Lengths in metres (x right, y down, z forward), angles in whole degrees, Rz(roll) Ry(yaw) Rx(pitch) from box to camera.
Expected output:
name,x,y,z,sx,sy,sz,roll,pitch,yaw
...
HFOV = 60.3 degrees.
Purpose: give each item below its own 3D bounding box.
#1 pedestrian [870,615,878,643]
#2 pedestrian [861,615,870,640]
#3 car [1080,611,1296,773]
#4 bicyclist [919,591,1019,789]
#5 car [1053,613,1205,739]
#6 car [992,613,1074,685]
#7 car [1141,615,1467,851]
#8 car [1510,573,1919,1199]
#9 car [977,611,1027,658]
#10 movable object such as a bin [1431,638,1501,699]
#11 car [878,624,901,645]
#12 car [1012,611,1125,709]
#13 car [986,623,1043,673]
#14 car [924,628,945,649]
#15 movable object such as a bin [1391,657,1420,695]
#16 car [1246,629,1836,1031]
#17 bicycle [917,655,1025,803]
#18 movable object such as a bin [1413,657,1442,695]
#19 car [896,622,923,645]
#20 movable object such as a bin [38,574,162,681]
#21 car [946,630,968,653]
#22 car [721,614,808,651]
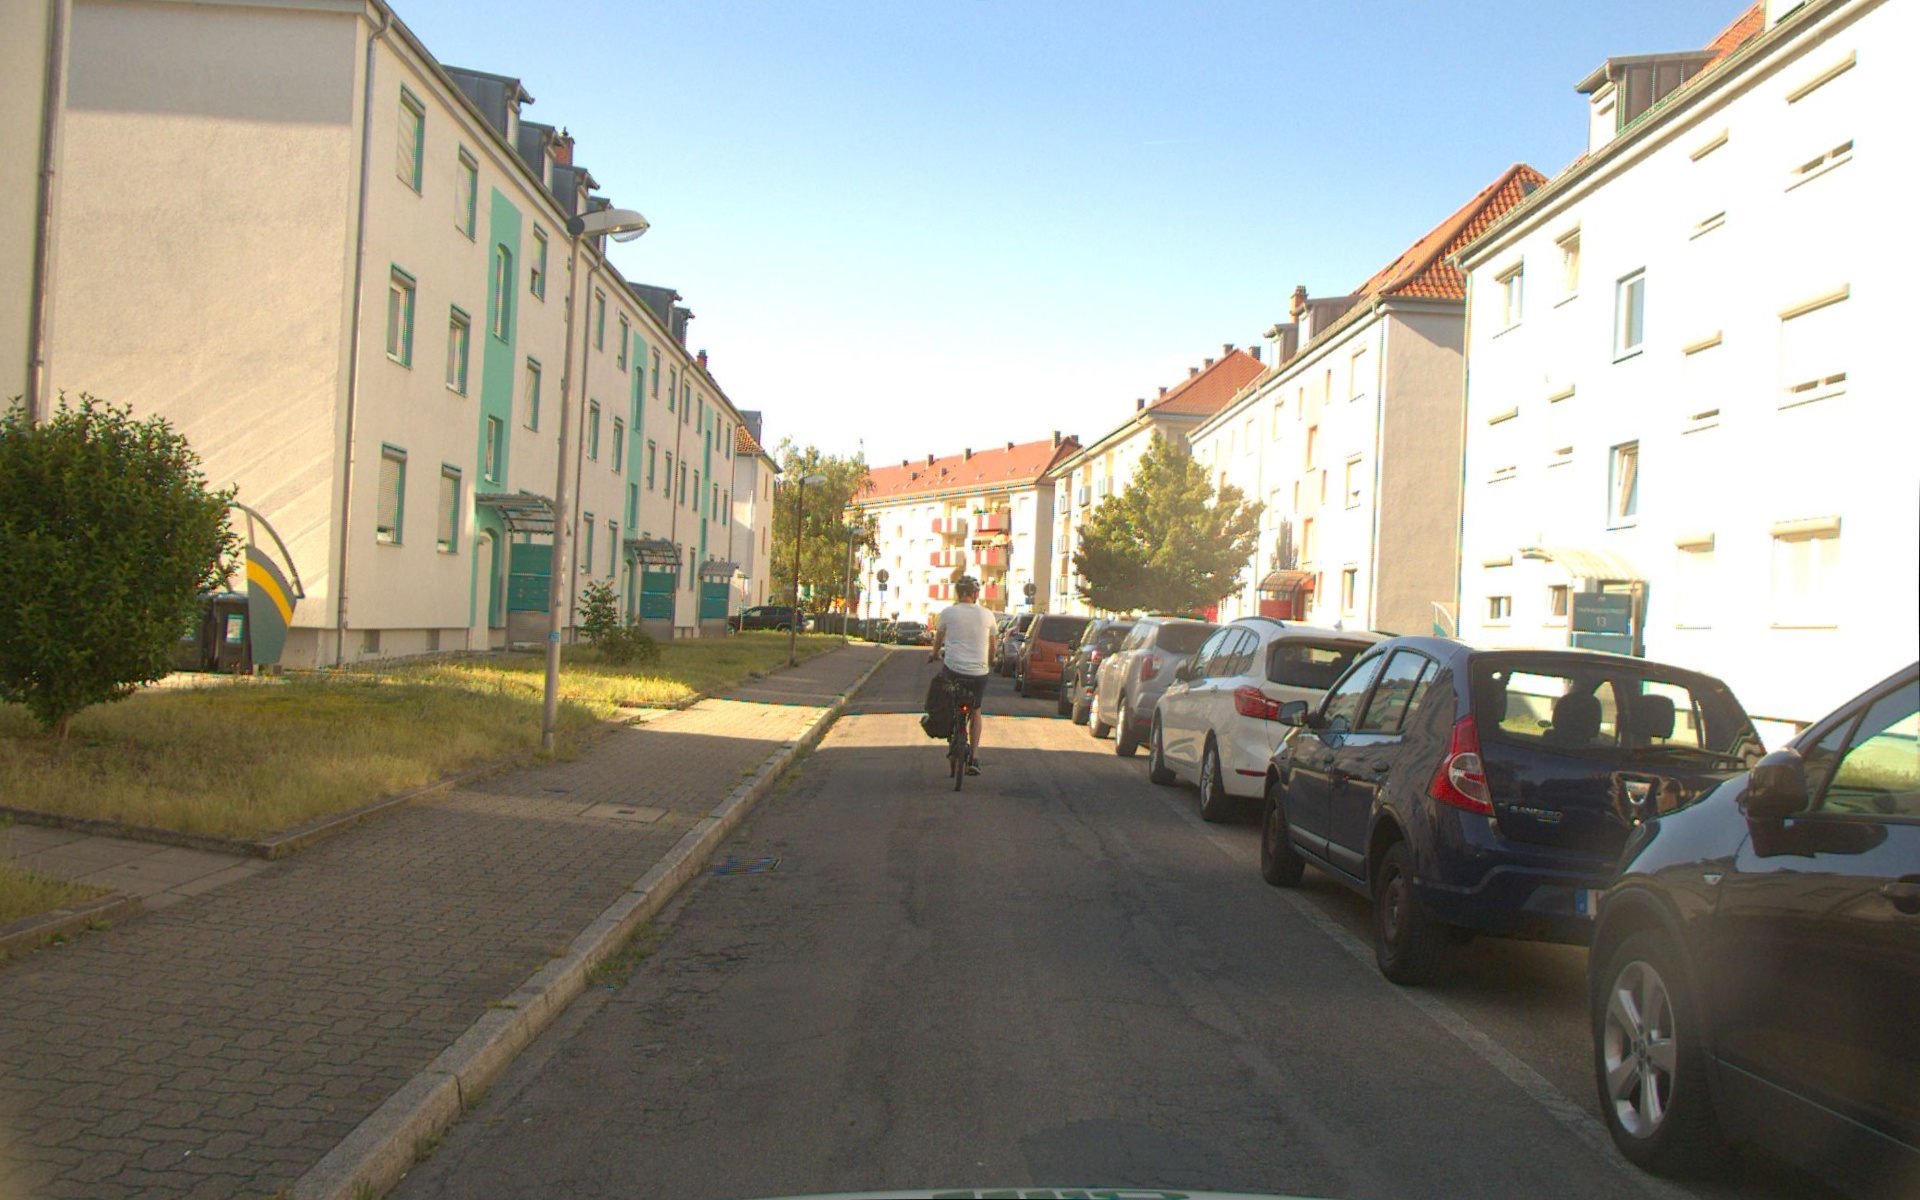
name,x,y,z,sx,sy,sz,roll,pitch,yaw
pedestrian,-5.014,1.709,96.229,0.425,1.602,0.543,2,-1,-1
pedestrian,-5.502,1.605,96.238,0.425,1.452,0.543,2,-1,-1
car,2.674,1.027,20.380,1.716,1.645,4.449,5,-1,-3
bicyclist,0.069,0.778,14.645,0.792,1.672,0.898,1,-1,-3
car,2.519,1.096,25.583,1.678,1.623,4.396,5,-1,-1
car,1.888,1.262,43.817,1.667,1.700,4.377,4,-1,-3
car,2.756,0.992,14.272,1.656,1.602,4.432,4,-1,-2
car,2.869,0.840,3.629,1.747,1.677,4.468,4,-1,0
car,1.690,1.385,67.298,1.641,1.769,3.940,3,-1,-3
movable object such as a bin,12.671,1.709,41.457,1.332,1.441,1.187,2,-1,-1
car,-4.745,2.315,111.240,1.440,1.359,3.138,-1,-1,-4
car,2.108,1.160,33.235,1.824,1.697,4.126,4,-1,-1
car,1.716,1.526,53.064,1.527,1.436,3.932,3,-1,-1
car,-1.997,3.024,129.392,1.440,1.542,3.075,3,-1,-3
movable object such as a bin,11.185,1.898,41.516,0.512,0.902,0.633,2,-1,-1
car,2.696,0.959,8.721,1.608,1.524,4.156,2,-1,0
bicycle,0.060,1.092,14.615,0.792,1.148,2.100,1,-1,-3
movable object such as a bin,11.731,1.906,41.513,0.512,0.902,0.633,2,-1,-1
car,-3.072,2.040,100.246,1.441,1.359,3.137,-1,-1,-6
movable object such as a bin,-11.649,0.379,22.445,1.228,1.380,0.903,2,-1,-13
car,-0.214,2.937,116.788,1.354,1.523,3.075,3,-1,-3
car,-9.583,1.598,81.355,4.149,1.667,1.581,2,-1,-5
